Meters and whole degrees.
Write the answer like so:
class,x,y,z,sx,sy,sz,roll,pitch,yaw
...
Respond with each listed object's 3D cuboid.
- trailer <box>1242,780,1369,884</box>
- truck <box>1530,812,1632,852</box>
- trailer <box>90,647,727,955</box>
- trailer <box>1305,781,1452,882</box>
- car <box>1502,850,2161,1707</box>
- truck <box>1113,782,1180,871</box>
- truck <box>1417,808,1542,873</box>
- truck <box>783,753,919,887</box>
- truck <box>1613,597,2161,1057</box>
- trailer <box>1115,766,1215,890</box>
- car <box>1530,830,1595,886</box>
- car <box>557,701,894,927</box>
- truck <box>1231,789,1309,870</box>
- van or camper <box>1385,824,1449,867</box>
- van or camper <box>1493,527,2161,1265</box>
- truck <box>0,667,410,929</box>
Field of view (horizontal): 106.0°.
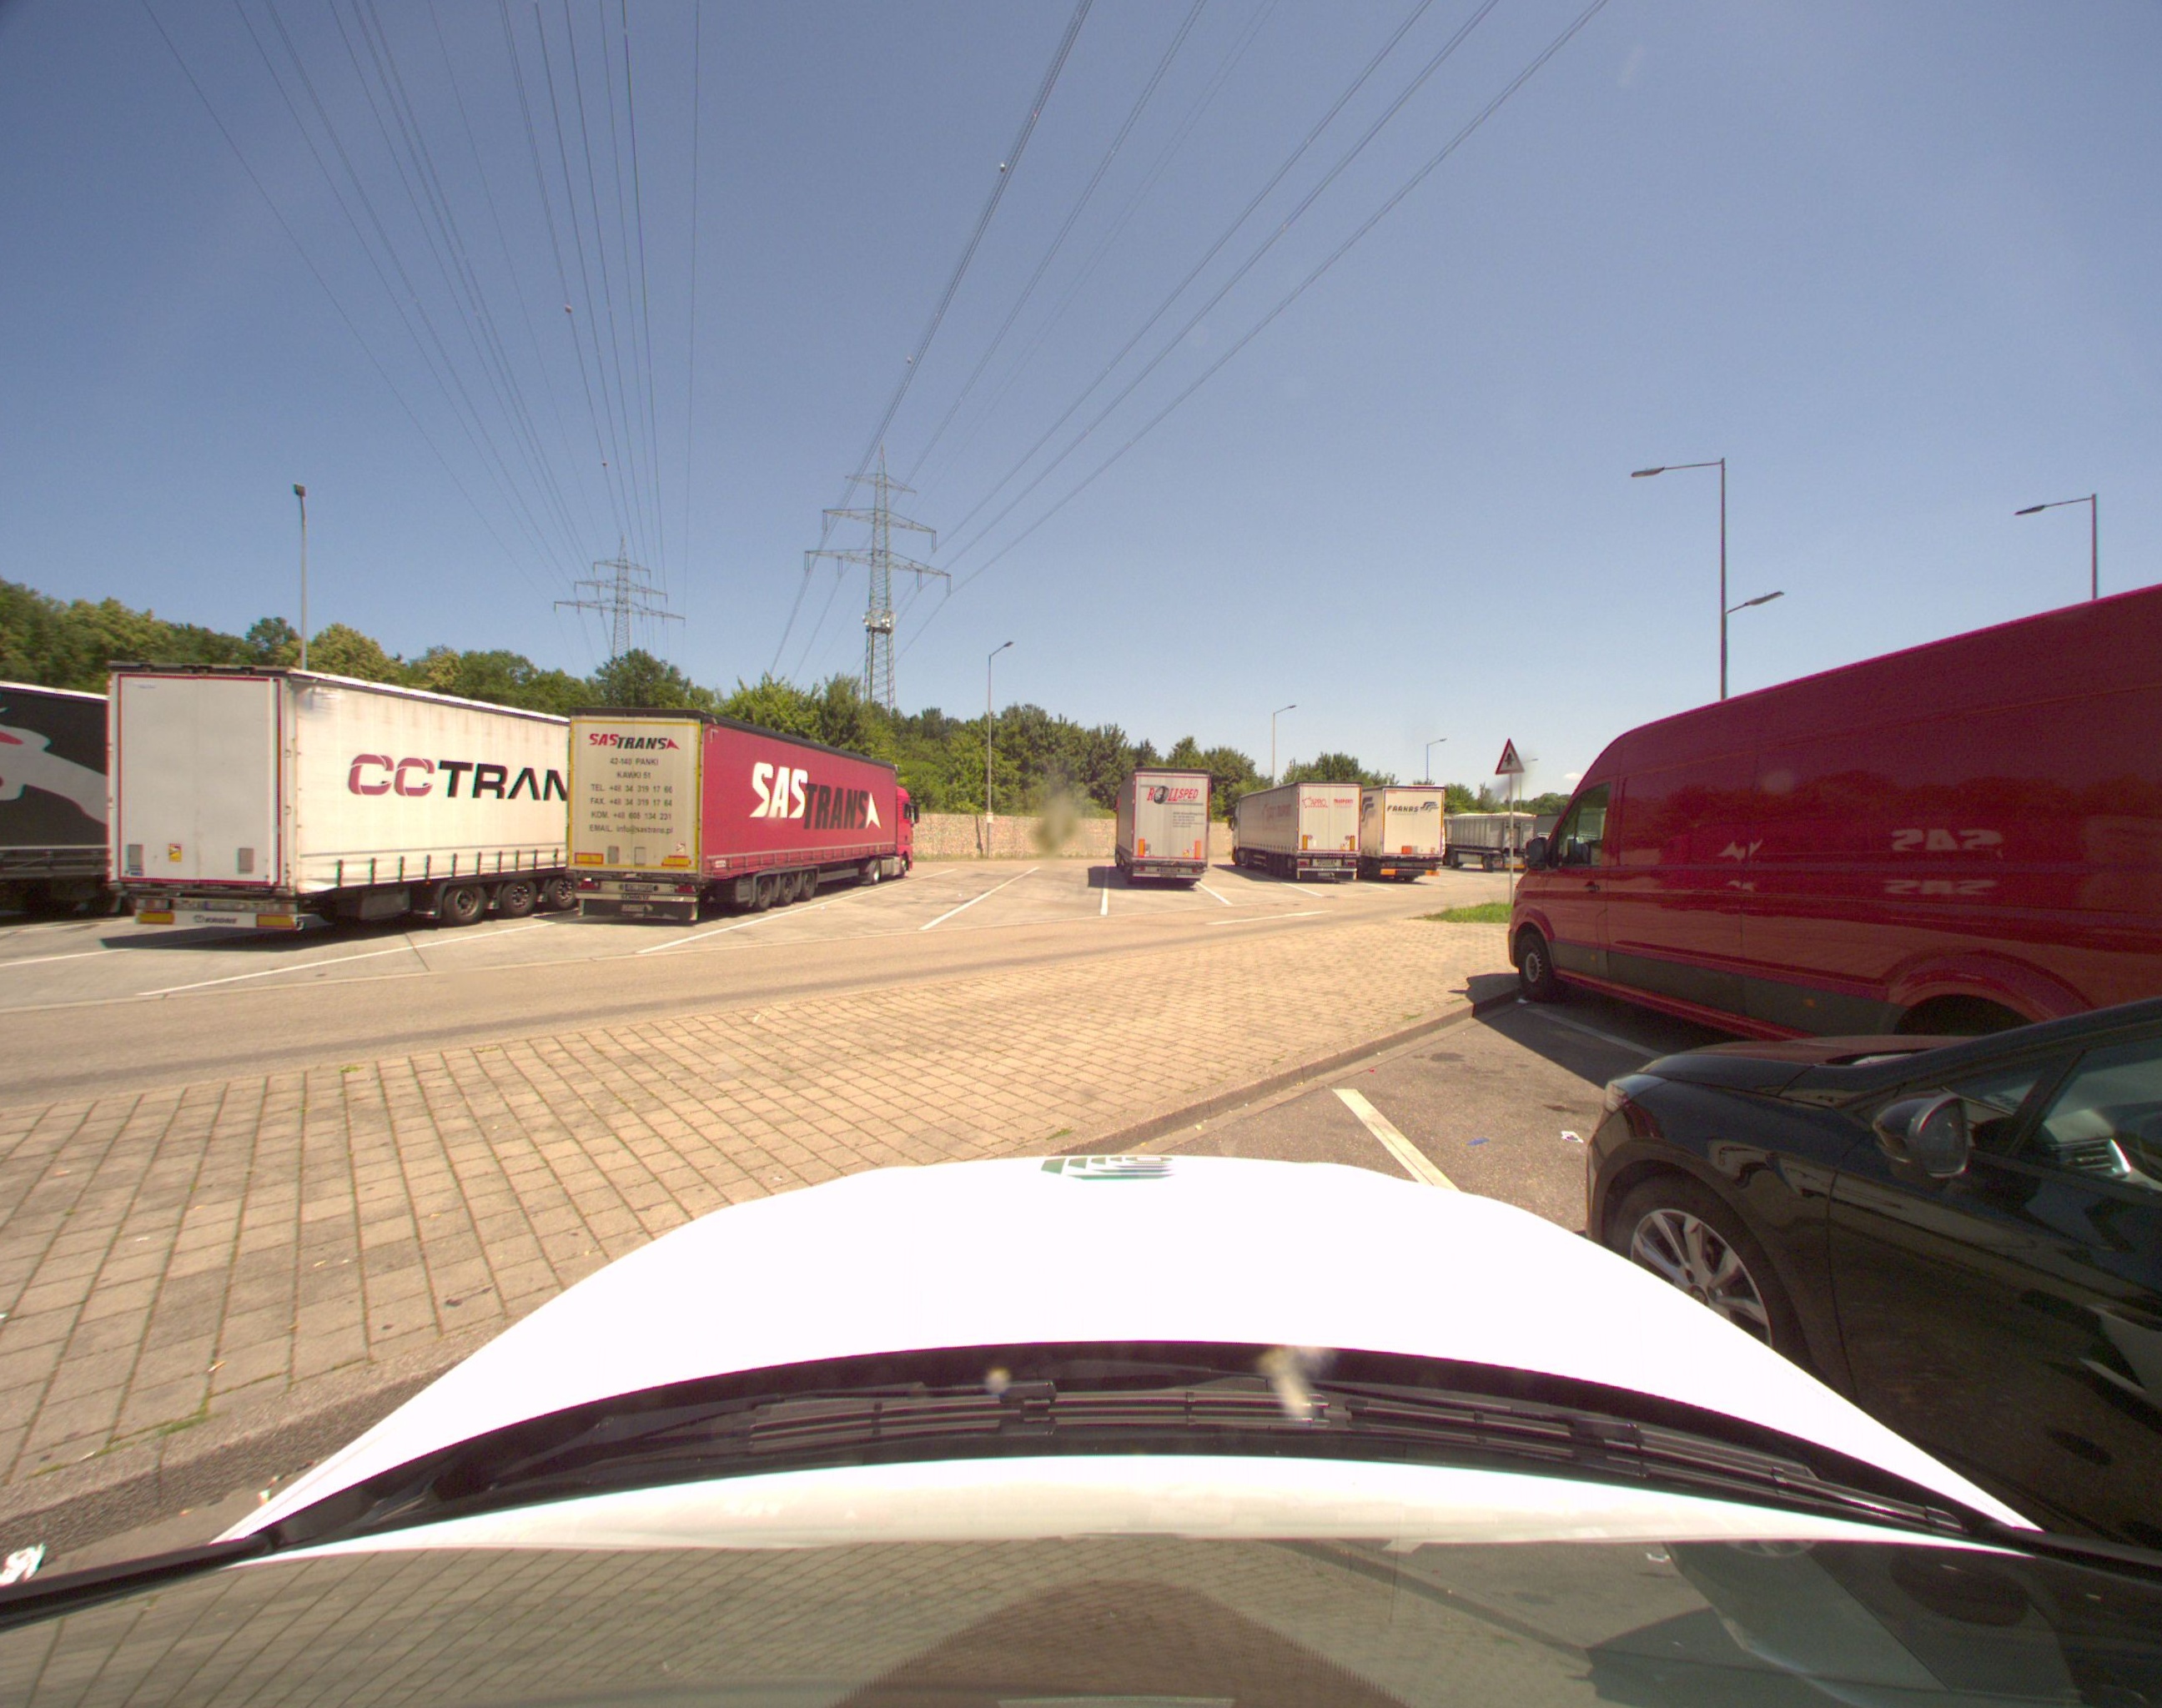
class,x,y,z,sx,sy,sz,roll,pitch,yaw
trailer,9.954,-1.104,37.931,2.856,4.037,12.445,1,2,2
truck,38.030,-1.643,62.412,2.117,2.820,9.783,-1,1,2
trailer,-12.160,-0.977,17.815,2.803,4.266,12.947,1,2,2
trailer,13.641,-1.123,38.907,2.856,4.037,12.445,1,2,2
car,2.460,0.760,1.170,1.612,1.483,3.762,-1,1,-4
truck,3.138,-1.396,40.846,2.857,4.037,7.029,0,2,1
truck,24.298,-0.956,50.532,2.478,3.568,11.429,1,2,2
truck,-7.748,-1.156,28.376,2.686,4.112,6.243,1,2,2
truck,7.943,-0.206,7.094,2.455,2.792,6.978,0,1,4
trailer,3.046,-1.105,33.757,2.857,4.037,14.244,0,2,1
car,20.202,0.088,34.063,1.974,2.150,5.347,0,1,34
car,-8.047,-0.936,21.459,2.686,4.112,12.943,1,2,2
truck,10.179,-1.369,44.563,2.856,4.037,6.960,1,2,2
van or camper,20.986,-0.531,51.116,2.096,2.561,5.376,-1,1,3
van or camper,5.143,0.105,5.522,1.986,2.654,6.490,-1,1,6
truck,-18.615,-1.025,16.295,2.803,4.190,8.793,0,2,2
